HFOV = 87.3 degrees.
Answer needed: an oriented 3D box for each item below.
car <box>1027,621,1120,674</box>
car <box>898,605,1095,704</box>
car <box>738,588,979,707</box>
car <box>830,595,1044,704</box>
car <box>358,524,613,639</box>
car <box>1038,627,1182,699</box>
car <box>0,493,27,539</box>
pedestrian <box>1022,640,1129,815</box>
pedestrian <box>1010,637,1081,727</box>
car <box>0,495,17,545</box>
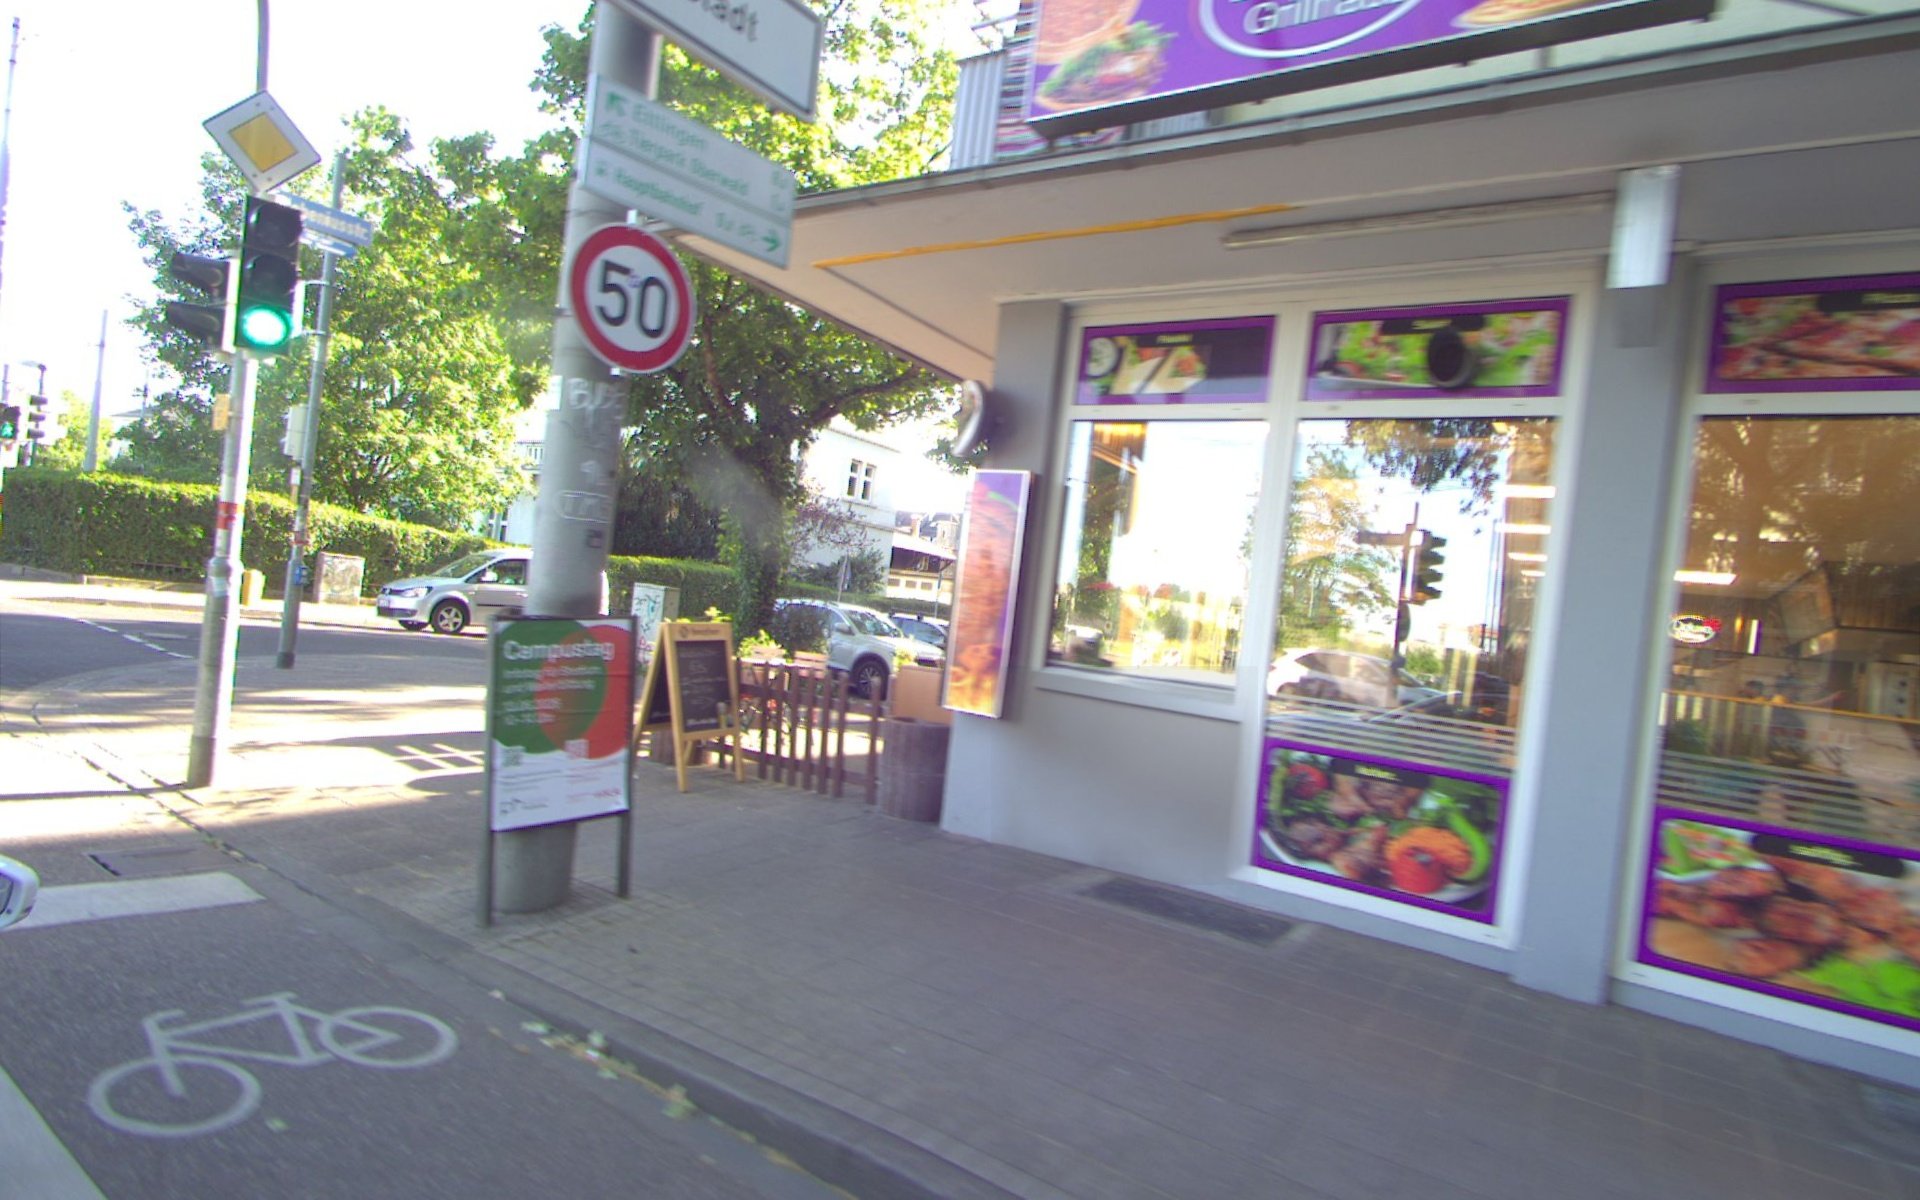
[{"bbox_3d":[4.867,2.046,42.772,1.968,1.837,4.316,7,-1,34],"label":"car"},{"bbox_3d":[0.761,1.168,21.947,3.807,1.637,1.713,7,-1,32],"label":"car"},{"bbox_3d":[-1.869,0.827,18.176,3.968,1.600,1.707,7,-1,31],"label":"car"},{"bbox_3d":[-0.485,0.969,20.159,3.840,1.637,1.713,7,-1,32],"label":"car"},{"bbox_3d":[-9.338,-0.292,20.104,1.780,1.835,4.175,3,-3,37],"label":"car"},{"bbox_3d":[4.532,1.897,30.466,3.807,1.637,1.713,7,-1,32],"label":"car"},{"bbox_3d":[-33.450,-2.993,34.483,1.792,1.494,3.897,7,-1,-39],"label":"car"},{"bbox_3d":[0.977,1.057,8.509,0.597,1.358,0.492,7,0,35],"label":"pedestrian"},{"bbox_3d":[1.280,1.227,15.018,0.650,1.233,0.739,7,0,33],"label":"pedestrian"},{"bbox_3d":[-30.121,-2.563,30.532,1.792,1.494,3.897,7,-1,-39],"label":"car"}]
